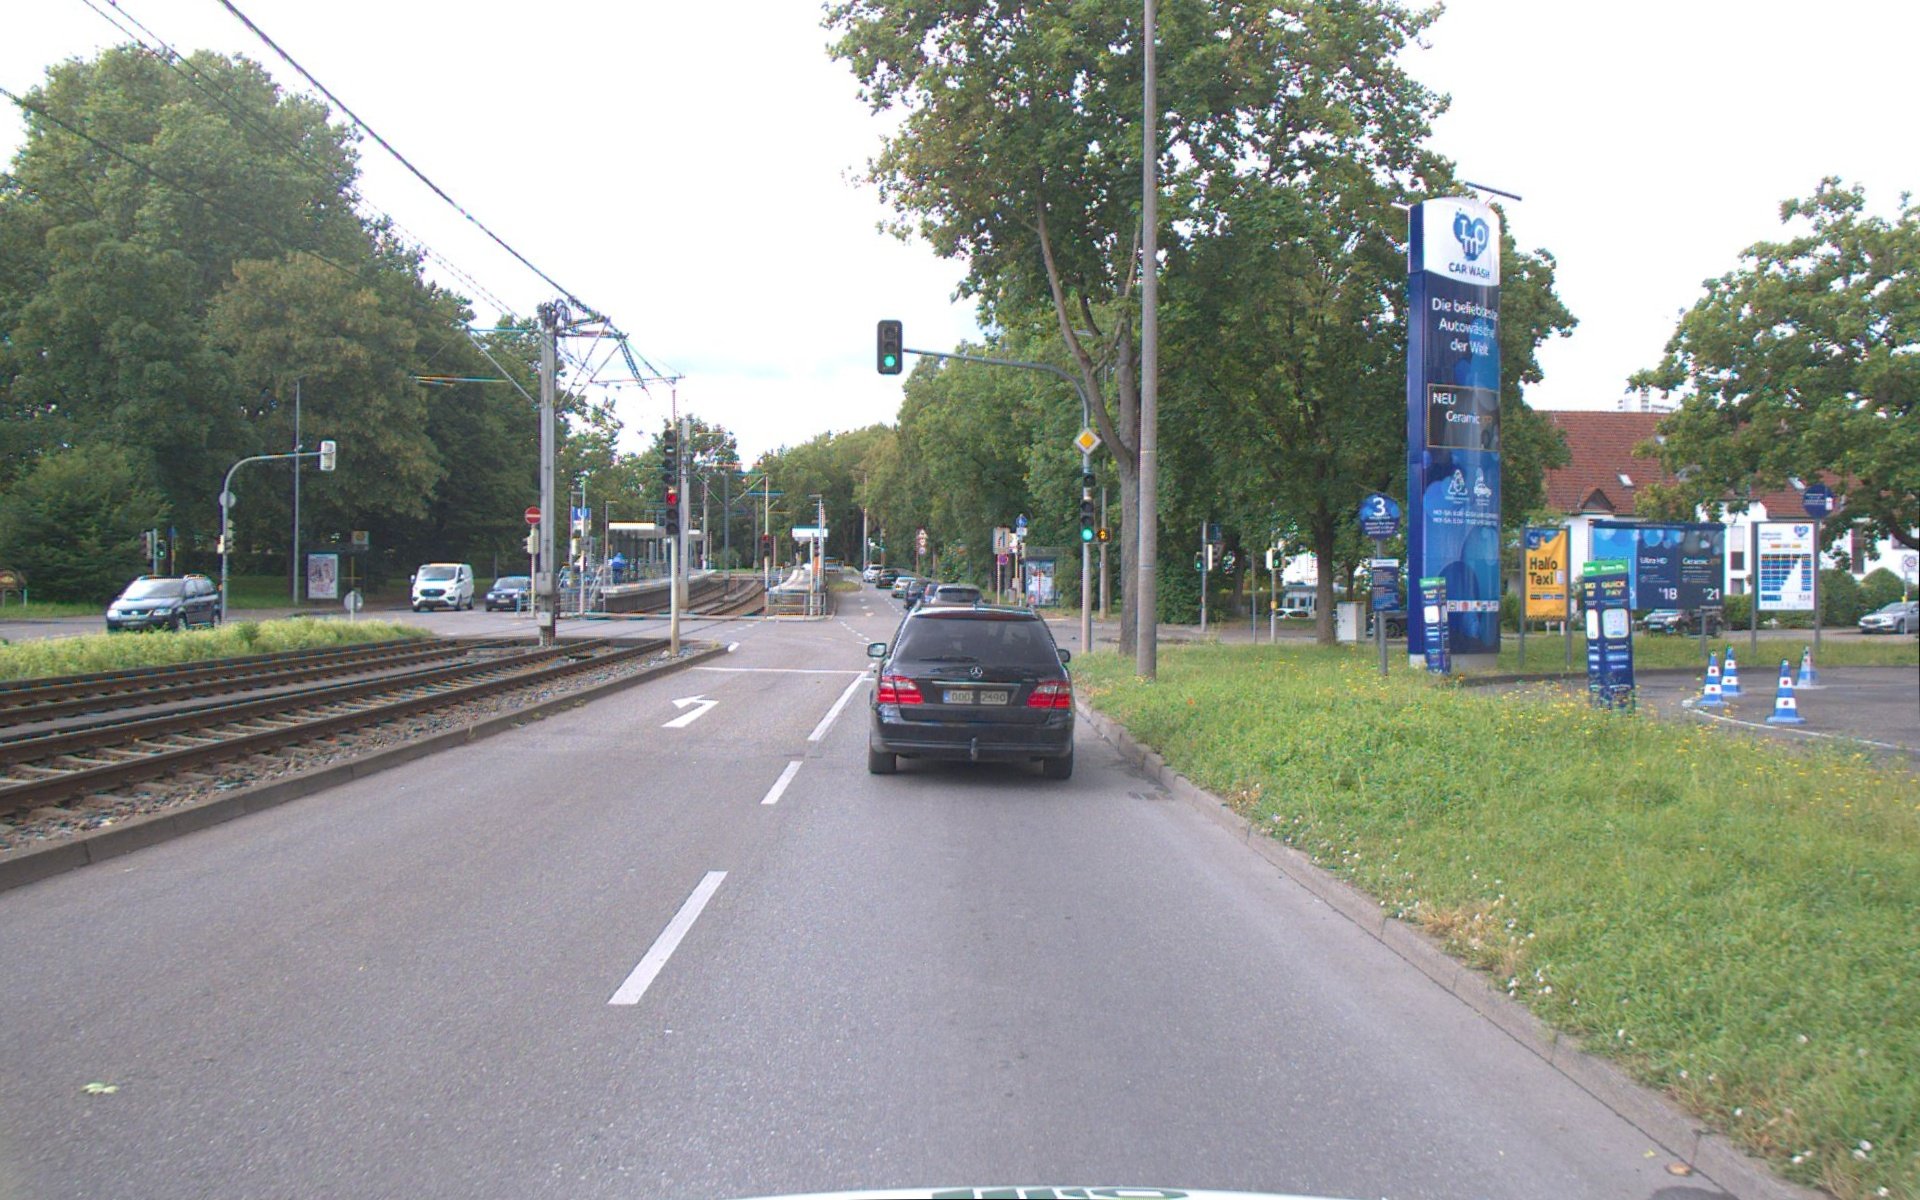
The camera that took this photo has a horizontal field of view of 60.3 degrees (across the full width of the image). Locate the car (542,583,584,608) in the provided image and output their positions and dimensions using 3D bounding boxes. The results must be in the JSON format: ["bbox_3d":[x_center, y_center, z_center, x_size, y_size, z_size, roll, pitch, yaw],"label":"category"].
[{"bbox_3d":[-25.029,-0.269,104.361,1.955,1.508,4.501,0,0,-6],"label":"car"}]

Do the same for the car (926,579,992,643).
[{"bbox_3d":[0.003,0.317,47.334,1.745,1.677,4.000,3,0,1],"label":"car"}]

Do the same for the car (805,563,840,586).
[{"bbox_3d":[-12.972,-2.379,155.426,1.968,2.049,3.968,3,0,-25],"label":"car"}]

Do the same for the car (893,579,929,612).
[{"bbox_3d":[-3.120,-0.291,104.429,1.955,1.926,3.995,3,0,-5],"label":"car"}]

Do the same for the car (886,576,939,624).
[{"bbox_3d":[-1.764,-0.004,62.203,1.745,1.677,4.000,3,0,1],"label":"car"}]

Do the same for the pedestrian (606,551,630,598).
[{"bbox_3d":[-16.321,-1.212,78.961,0.950,2.224,0.975,1,0,-4],"label":"pedestrian"}]

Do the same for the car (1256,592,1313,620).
[{"bbox_3d":[17.405,0.310,88.836,1.453,1.410,3.825,3,0,-15],"label":"car"}]

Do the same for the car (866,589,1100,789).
[{"bbox_3d":[0.075,0.704,15.162,1.747,1.552,3.996,2,0,-5],"label":"car"}]

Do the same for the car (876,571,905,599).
[{"bbox_3d":[-5.300,-1.130,125.566,1.955,2.001,3.995,3,0,-5],"label":"car"}]

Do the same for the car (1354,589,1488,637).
[{"bbox_3d":[15.414,0.434,55.432,4.065,1.552,1.705,0,0,4],"label":"car"}]

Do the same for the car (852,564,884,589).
[{"bbox_3d":[-7.925,-1.986,142.144,1.961,2.049,3.984,3,0,-15],"label":"car"}]

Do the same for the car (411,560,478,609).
[{"bbox_3d":[-22.335,-0.679,71.890,1.956,2.049,4.877,0,0,-8],"label":"car"}]

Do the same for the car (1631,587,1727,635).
[{"bbox_3d":[29.657,0.463,68.210,3.959,1.796,1.973,3,0,-39],"label":"car"}]

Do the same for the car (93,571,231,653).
[{"bbox_3d":[-20.862,0.293,43.411,1.955,2.049,4.102,0,0,-6],"label":"car"}]

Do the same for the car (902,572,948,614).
[{"bbox_3d":[-1.803,-0.337,83.142,1.955,1.951,3.995,3,0,-5],"label":"car"}]

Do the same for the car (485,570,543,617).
[{"bbox_3d":[-18.976,-0.275,70.497,1.664,1.893,3.996,3,0,-5],"label":"car"}]
